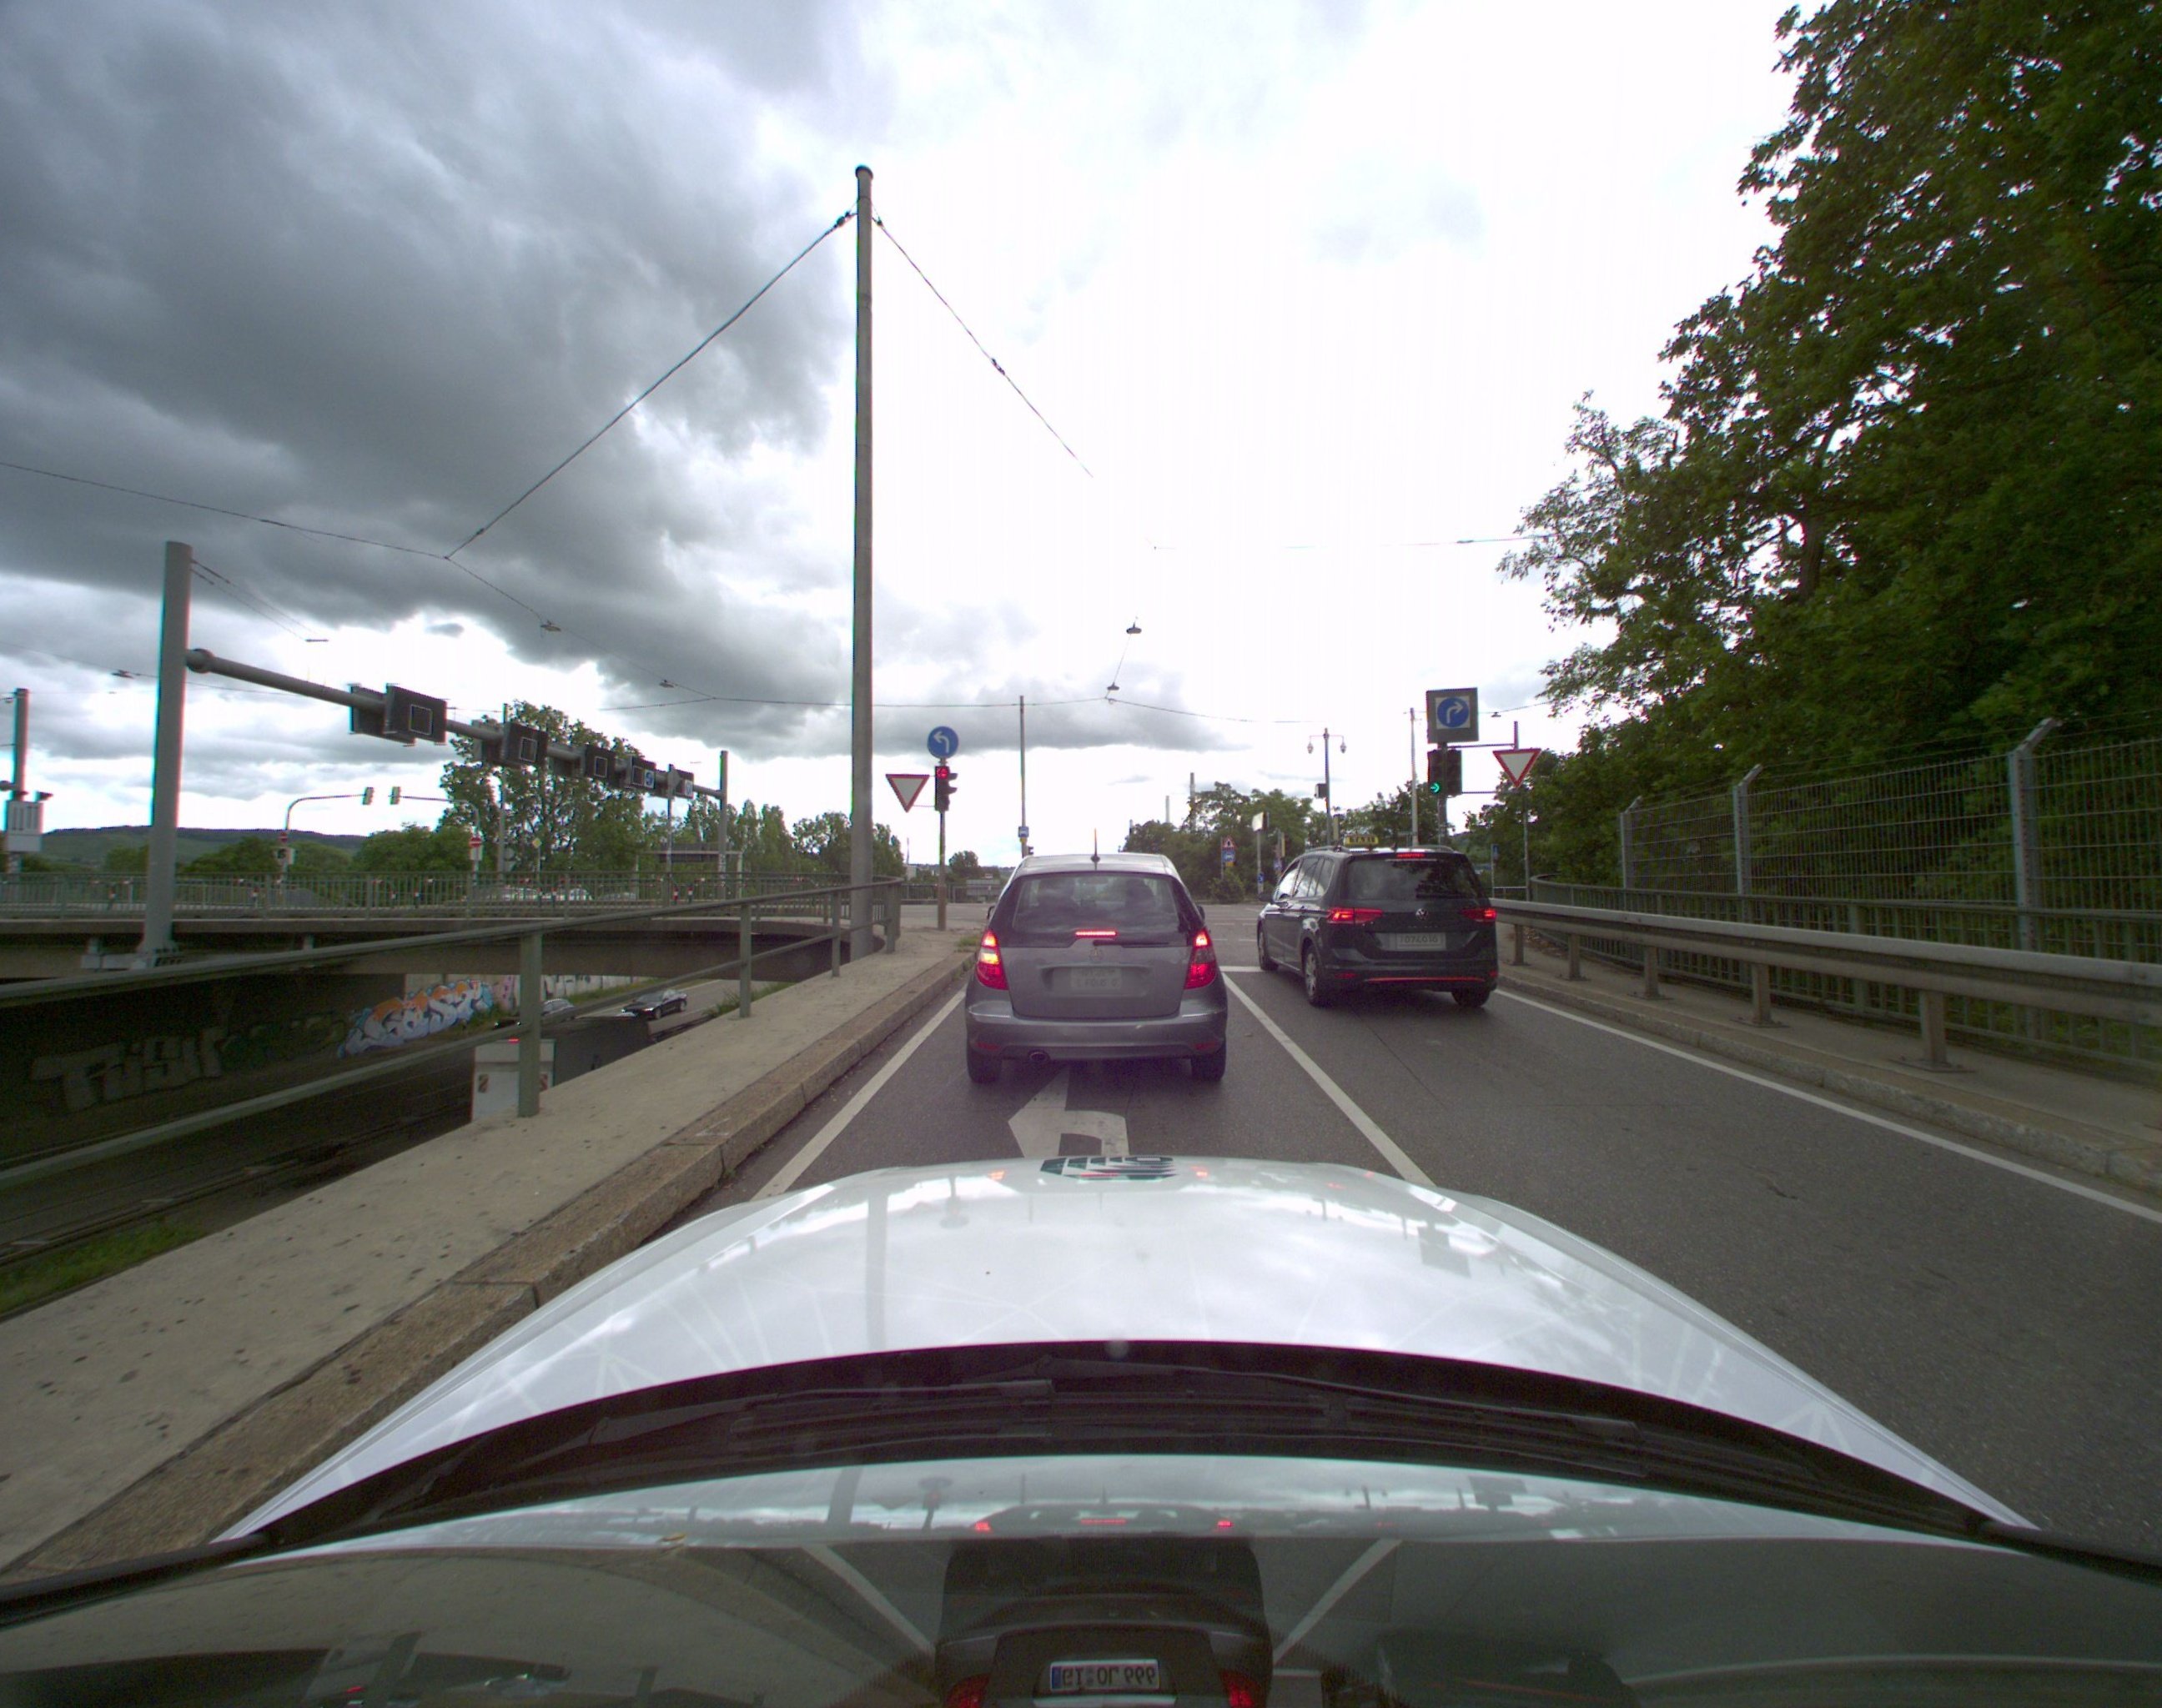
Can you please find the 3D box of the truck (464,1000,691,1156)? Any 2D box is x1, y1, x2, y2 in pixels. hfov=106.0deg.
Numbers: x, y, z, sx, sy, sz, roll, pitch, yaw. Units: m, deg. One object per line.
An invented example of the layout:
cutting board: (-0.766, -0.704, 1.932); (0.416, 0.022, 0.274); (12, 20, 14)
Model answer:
truck: (-14.875, 6.492, 24.904); (2.224, 3.009, 7.233); (-2, -3, 2)

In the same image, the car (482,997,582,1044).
car: (-28.326, 8.571, 42.221); (1.986, 1.626, 4.580); (-3, -3, 2)

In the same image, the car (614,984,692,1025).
car: (-24.755, 8.704, 47.301); (1.986, 1.626, 4.580); (-3, -3, 2)

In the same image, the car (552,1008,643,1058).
car: (-22.136, 8.158, 37.455); (1.768, 1.494, 3.896); (-3, -3, 0)

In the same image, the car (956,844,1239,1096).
car: (0.160, 0.728, 6.782); (1.733, 1.543, 3.542); (0, -1, 2)

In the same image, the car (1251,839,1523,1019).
car: (3.246, 0.706, 9.580); (1.789, 1.653, 4.152); (0, -1, 2)
